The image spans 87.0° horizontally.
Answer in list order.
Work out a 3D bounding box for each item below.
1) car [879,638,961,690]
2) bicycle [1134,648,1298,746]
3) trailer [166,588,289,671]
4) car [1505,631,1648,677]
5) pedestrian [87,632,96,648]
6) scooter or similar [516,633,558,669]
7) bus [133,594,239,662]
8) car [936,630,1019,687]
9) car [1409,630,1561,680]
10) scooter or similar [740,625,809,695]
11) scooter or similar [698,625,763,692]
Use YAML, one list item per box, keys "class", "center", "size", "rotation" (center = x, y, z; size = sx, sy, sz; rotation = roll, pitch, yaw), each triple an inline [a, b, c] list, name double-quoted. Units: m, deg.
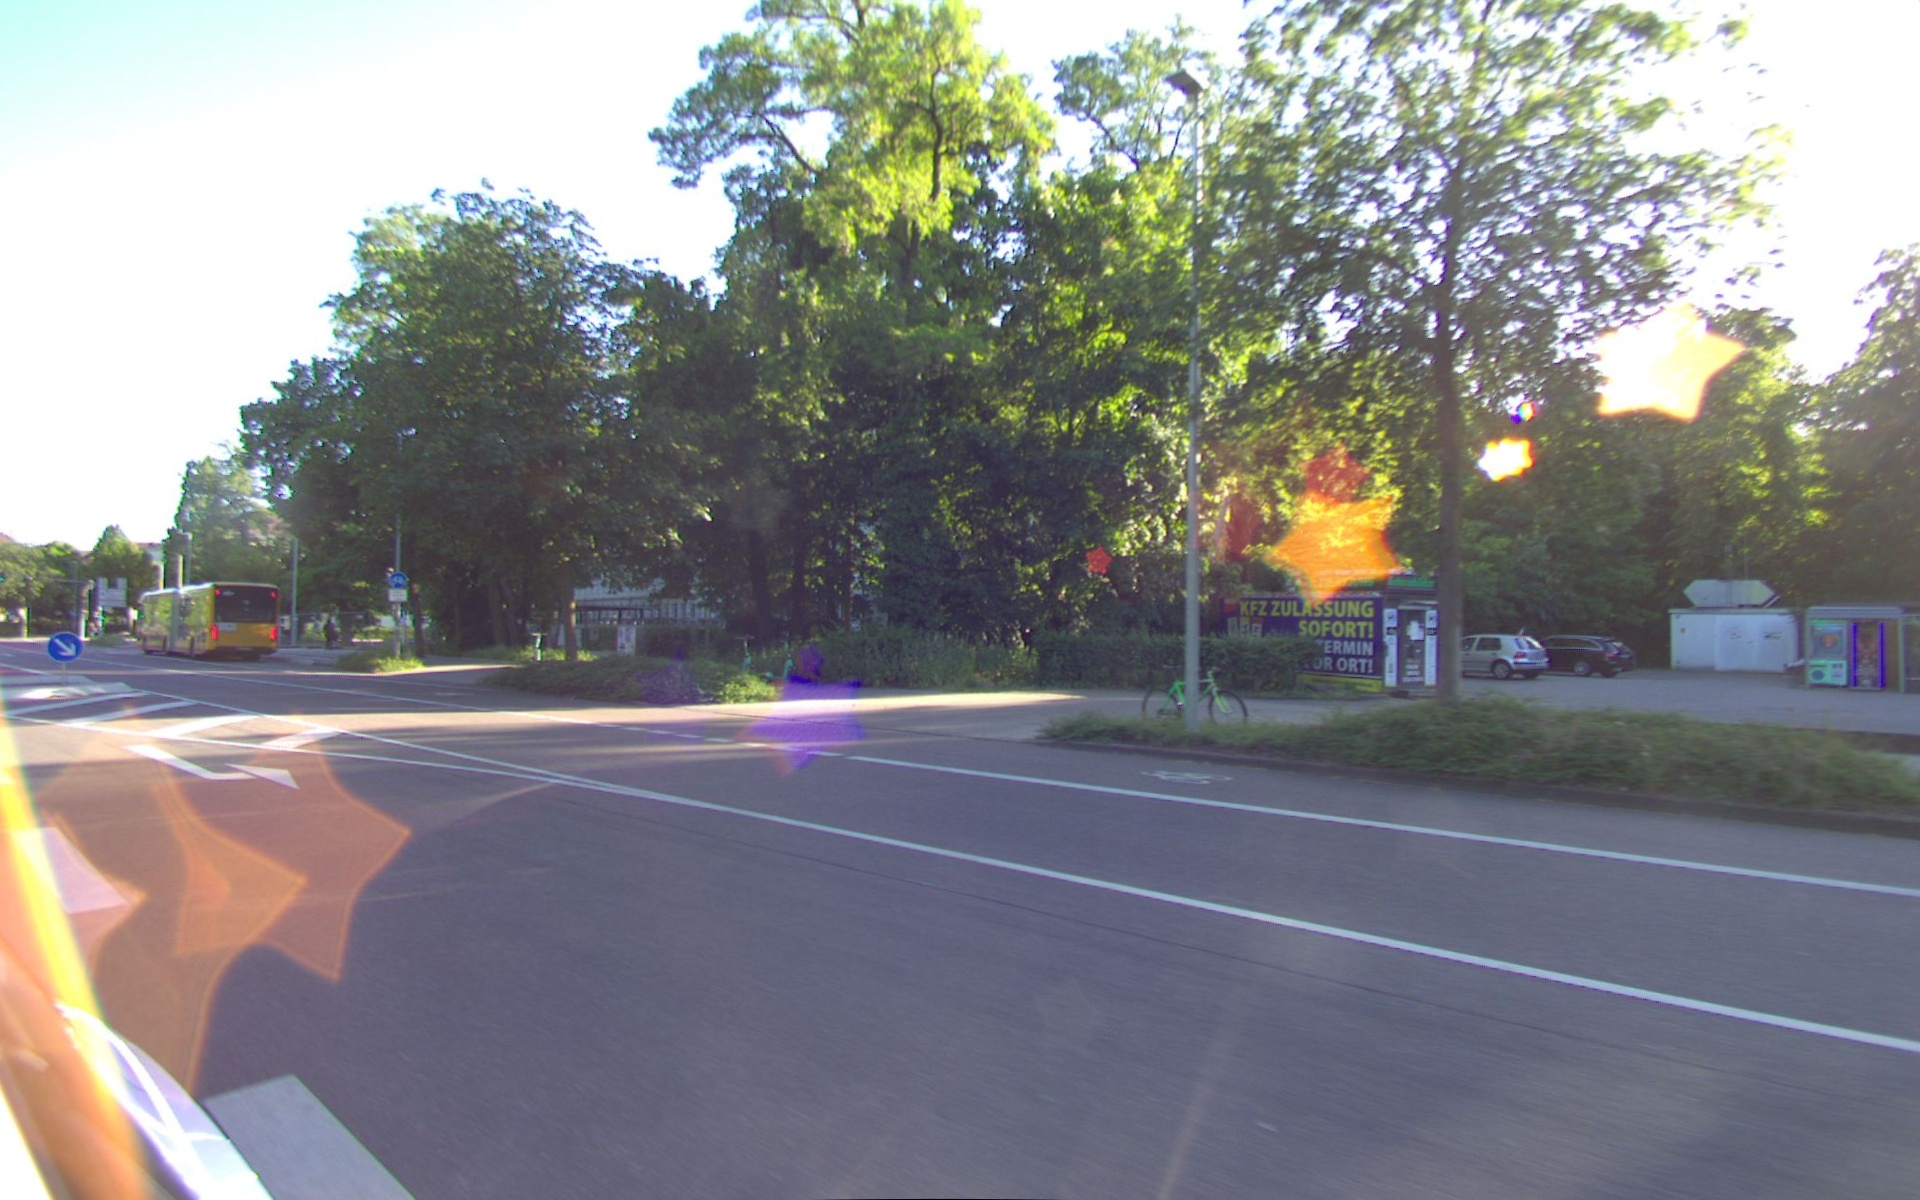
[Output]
- class: "car"
  center: [-1.253, 1.874, 30.206]
  size: [1.536, 1.411, 3.501]
  rotation: [3, -3, -17]
- class: "bicycle"
  center: [3.562, 1.313, 14.210]
  size: [2.155, 1.259, 0.648]
  rotation: [-1, -3, 36]
- class: "trailer"
  center: [-33.194, 1.257, 45.673]
  size: [9.363, 3.381, 2.823]
  rotation: [-1, -1, 43]
- class: "car"
  center: [22.042, 1.899, 36.327]
  size: [1.967, 1.548, 3.922]
  rotation: [2, -2, -36]
- class: "pedestrian"
  center: [-92.103, 4.262, 107.369]
  size: [0.681, 1.694, 0.681]
  rotation: [2, -3, -40]
- class: "scooter or similar"
  center: [-15.763, 1.890, 37.678]
  size: [1.570, 1.320, 0.819]
  rotation: [-2, -3, 42]
- class: "bus"
  center: [-39.738, 1.456, 51.835]
  size: [8.599, 3.221, 2.809]
  rotation: [-2, -3, 43]
- class: "car"
  center: [0.501, 1.778, 31.546]
  size: [1.536, 1.663, 3.501]
  rotation: [1, -2, -18]
- class: "car"
  center: [17.396, 1.772, 33.712]
  size: [1.966, 1.548, 4.033]
  rotation: [2, -2, -31]
- class: "scooter or similar"
  center: [-4.729, 1.506, 25.733]
  size: [1.740, 1.730, 0.819]
  rotation: [-2, -3, 42]
- class: "scooter or similar"
  center: [-6.148, 1.532, 27.062]
  size: [1.740, 1.730, 0.819]
  rotation: [-2, -3, 42]
